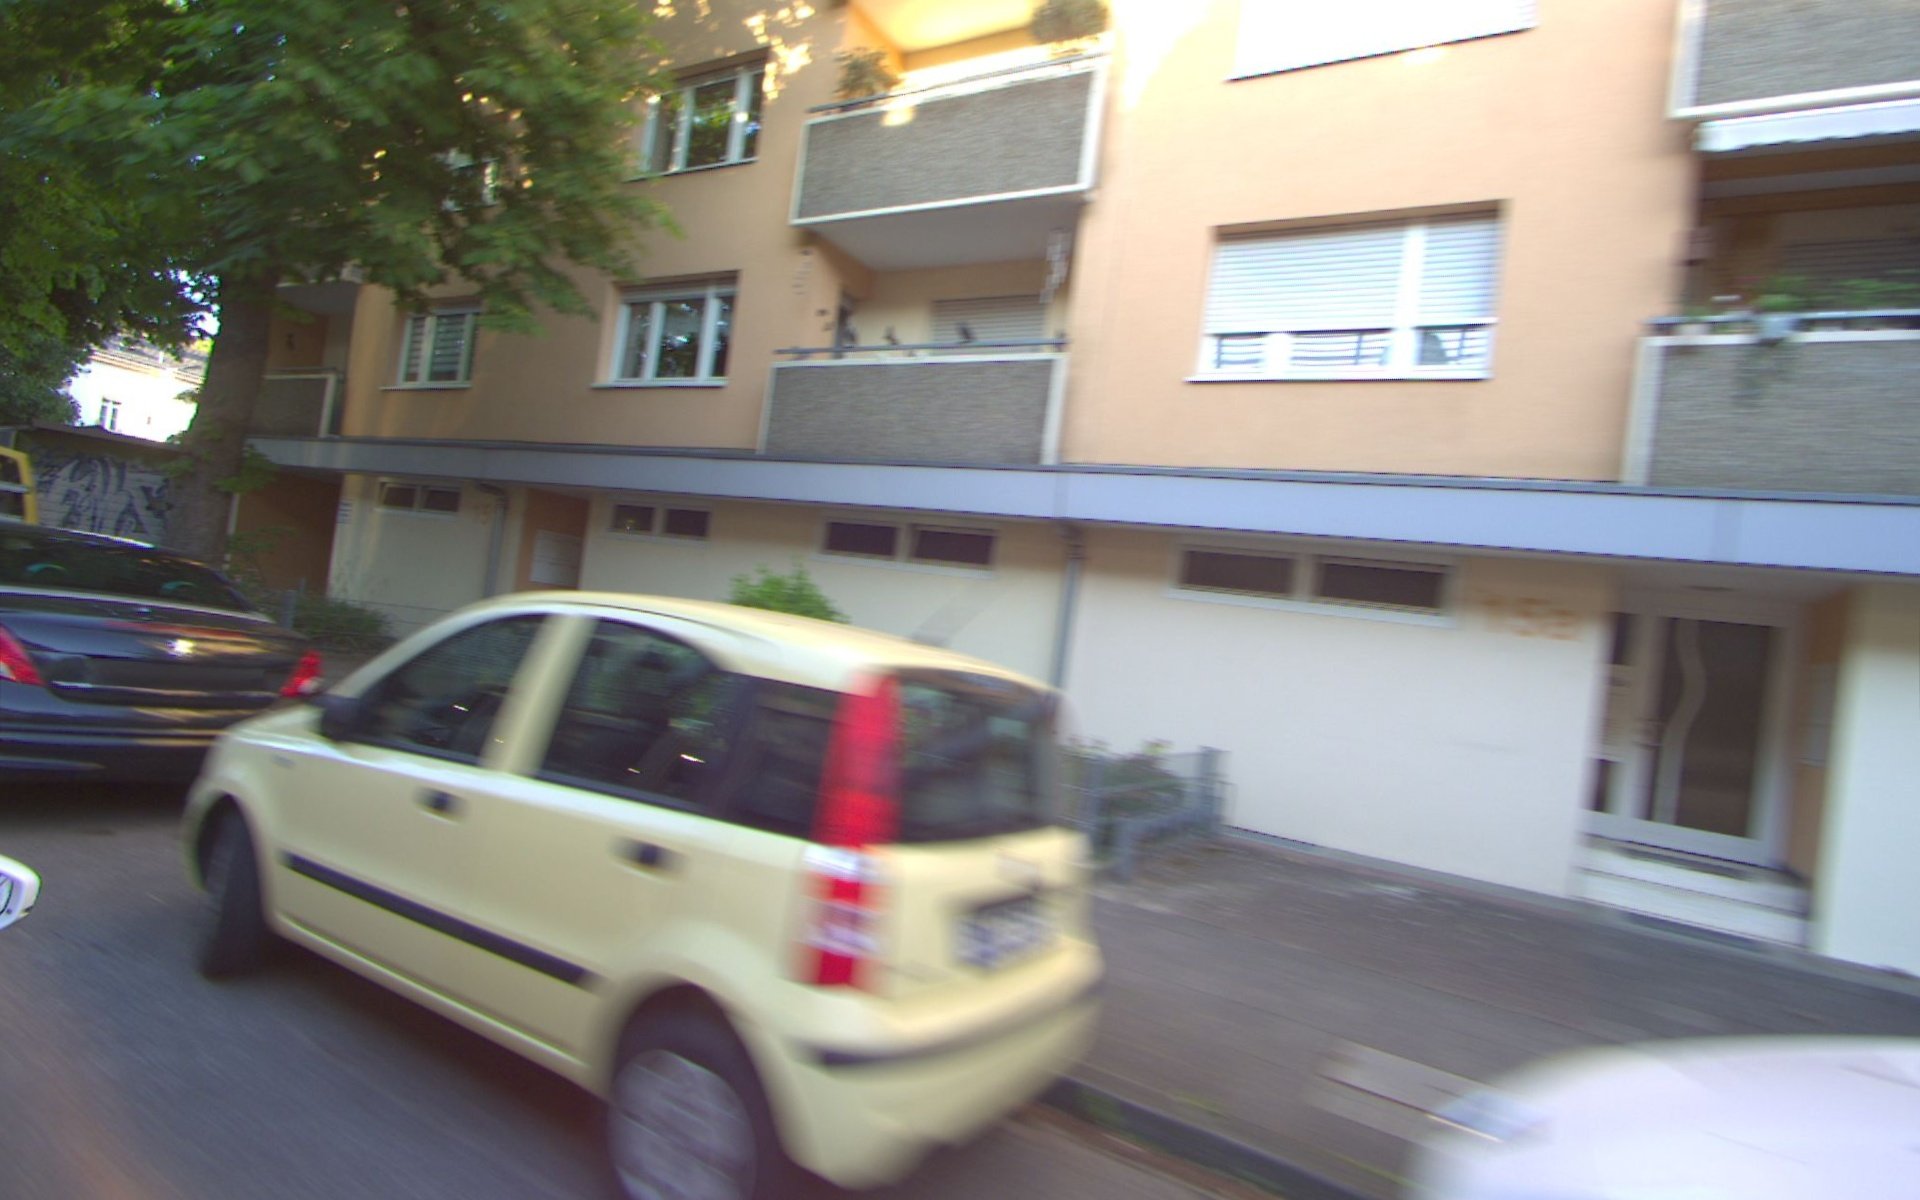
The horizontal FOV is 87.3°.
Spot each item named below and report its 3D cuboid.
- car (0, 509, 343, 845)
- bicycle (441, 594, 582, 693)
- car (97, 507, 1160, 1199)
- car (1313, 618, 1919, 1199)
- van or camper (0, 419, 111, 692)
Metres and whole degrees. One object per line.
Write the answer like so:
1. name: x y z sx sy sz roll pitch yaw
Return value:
1. car: -5.555 0.225 5.928 3.934 1.398 1.609 8 -1 33
2. bicycle: -5.466 0.514 12.217 1.804 0.932 0.524 8 -1 31
3. car: -1.279 0.675 3.585 3.419 1.528 1.613 7 -1 31
4. car: 2.662 1.120 1.041 4.123 1.581 1.795 7 -1 31
5. van or camper: -9.886 -0.682 8.754 5.004 2.120 2.069 8 -1 30
